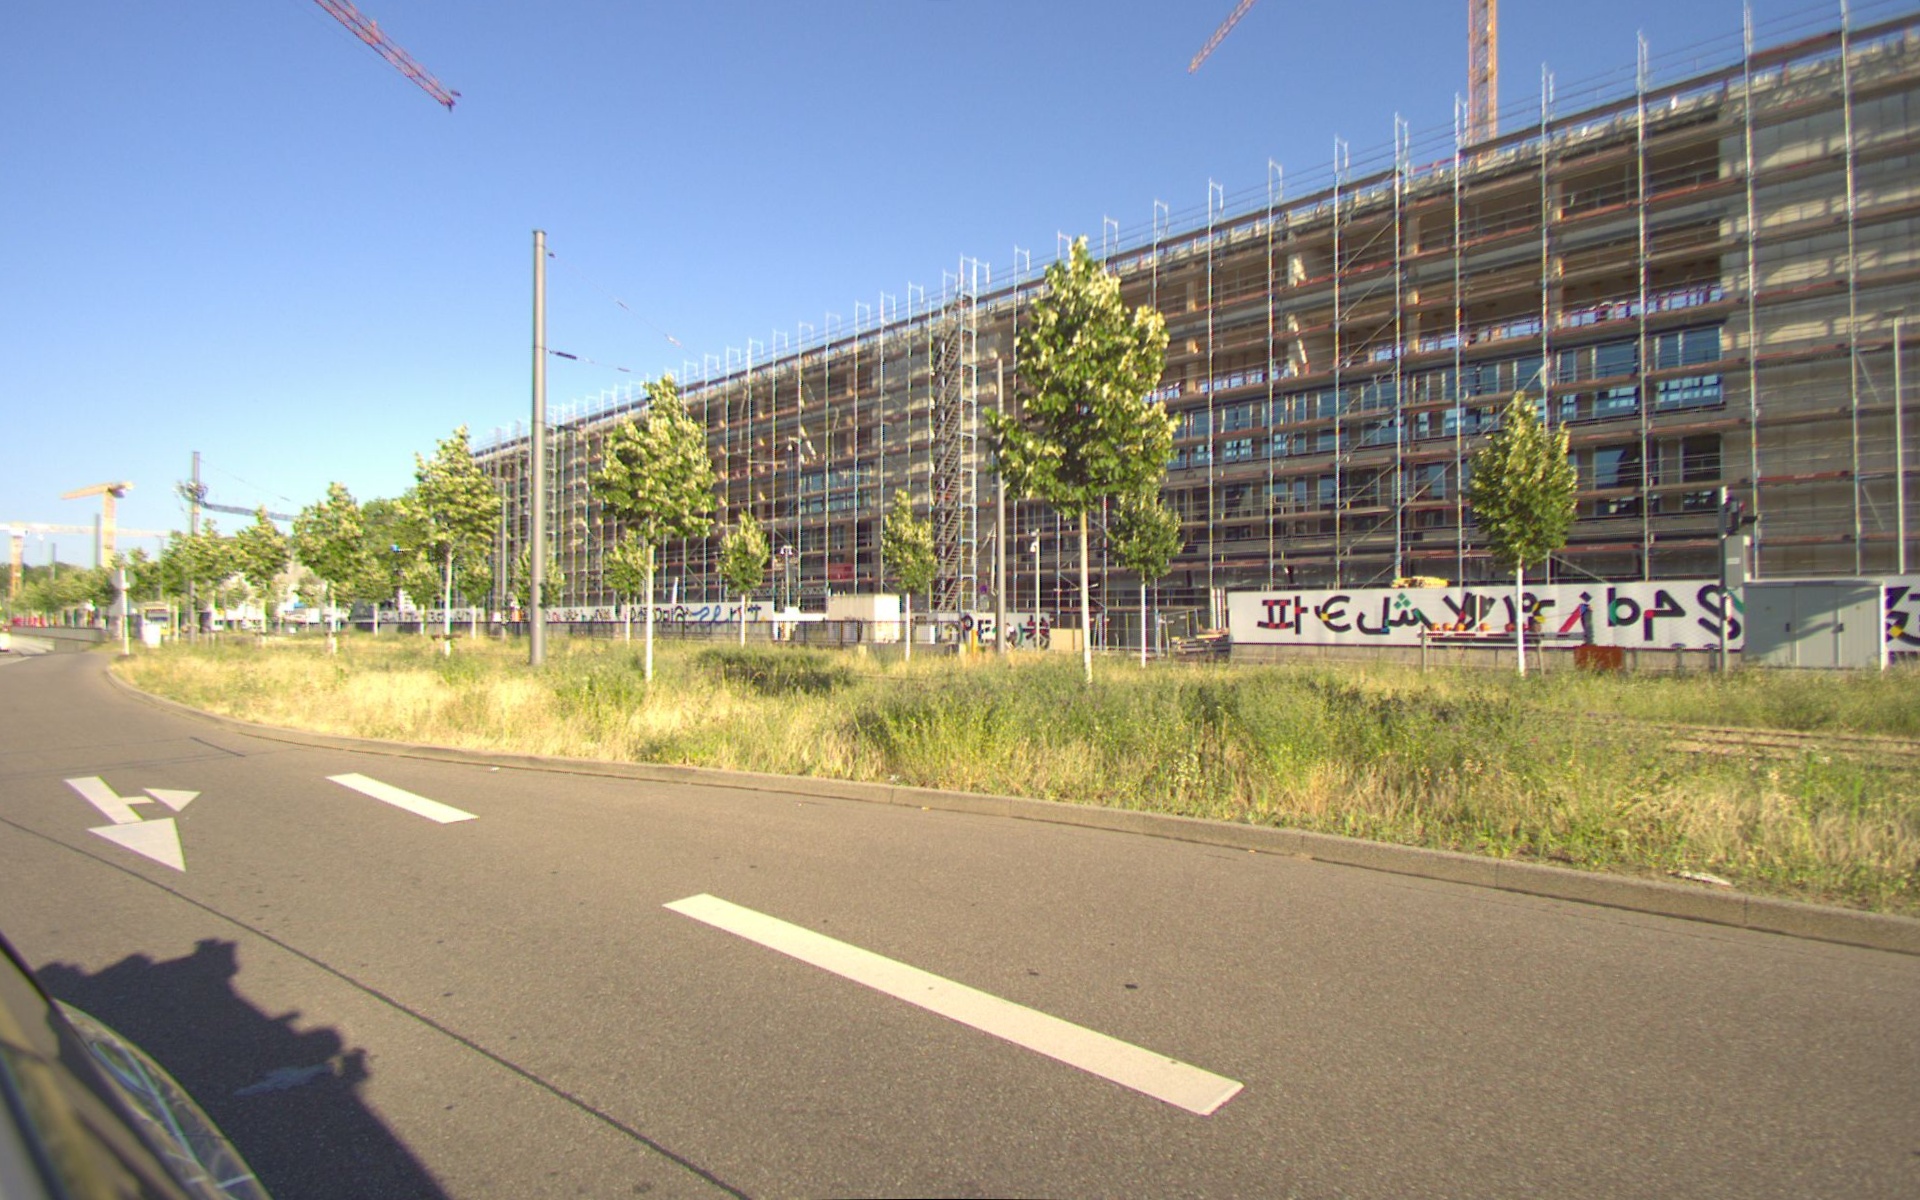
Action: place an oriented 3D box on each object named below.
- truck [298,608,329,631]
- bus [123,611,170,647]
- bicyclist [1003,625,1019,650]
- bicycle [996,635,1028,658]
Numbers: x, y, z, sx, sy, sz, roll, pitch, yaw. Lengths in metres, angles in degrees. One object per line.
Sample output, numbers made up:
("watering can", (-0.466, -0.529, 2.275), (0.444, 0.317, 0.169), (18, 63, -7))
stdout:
("truck", (-74.179, 2.219, 116.059), (2.113, 2.593, 4.743), (1, -2, -44))
("bus", (-77.024, 2.738, 95.727), (2.685, 3.247, 8.662), (1, -2, -44))
("bicyclist", (2.417, 1.793, 48.093), (0.638, 1.163, 0.473), (-2, -2, 44))
("bicycle", (2.464, 2.185, 48.043), (1.565, 1.069, 0.473), (-2, -2, 44))
